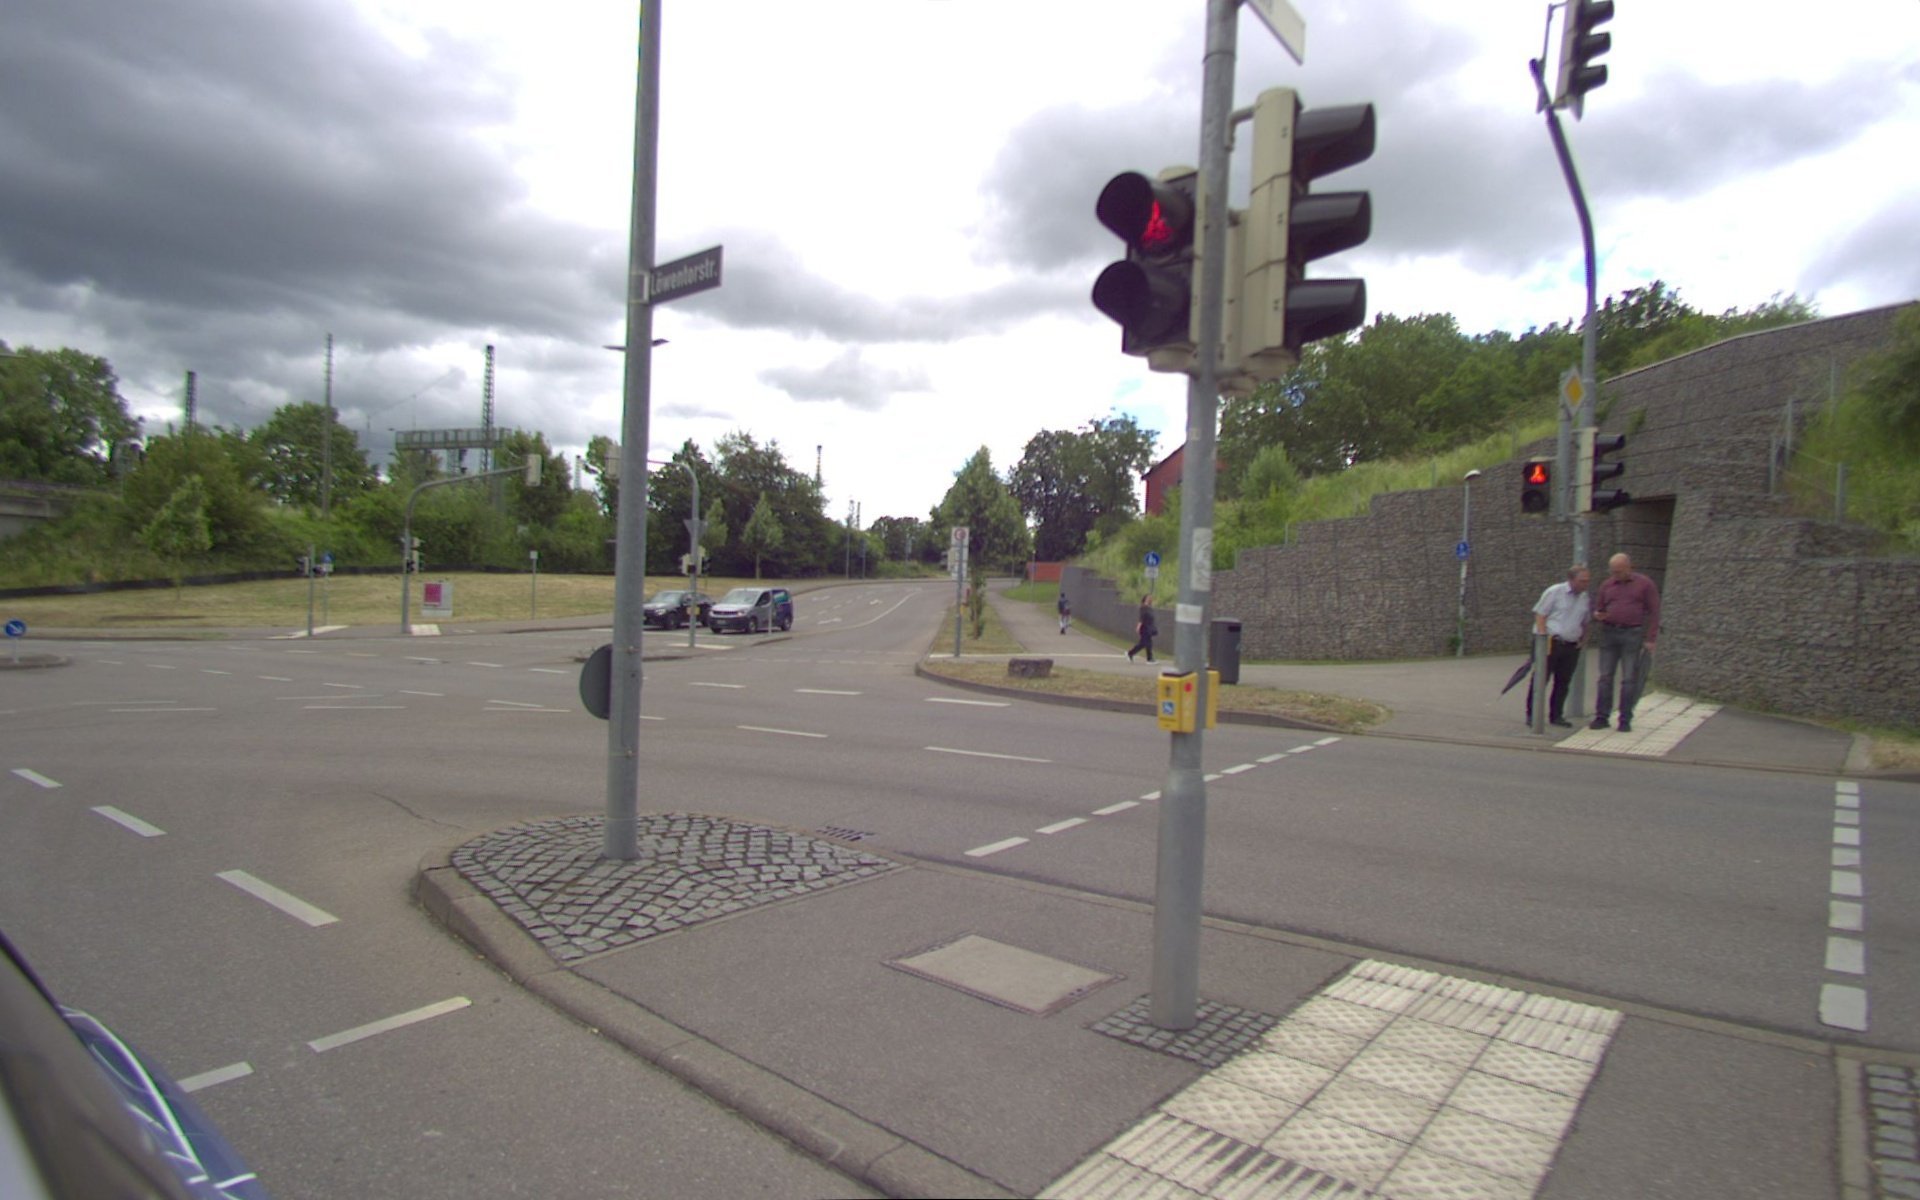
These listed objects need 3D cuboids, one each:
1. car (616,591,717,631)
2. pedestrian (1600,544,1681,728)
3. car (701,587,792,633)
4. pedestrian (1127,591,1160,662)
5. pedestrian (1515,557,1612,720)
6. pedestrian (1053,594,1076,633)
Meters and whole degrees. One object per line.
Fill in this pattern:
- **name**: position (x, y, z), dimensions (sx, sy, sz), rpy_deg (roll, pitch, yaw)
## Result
- **car**: position (-12.186, 0.422, 42.335), dimensions (2.093, 1.563, 4.238), rpy_deg (1, 1, 18)
- **pedestrian**: position (7.106, 0.354, 10.572), dimensions (0.664, 1.841, 0.616), rpy_deg (1, 1, 36)
- **car**: position (-8.452, 0.345, 40.491), dimensions (1.745, 1.741, 4.239), rpy_deg (1, 1, 17)
- **pedestrian**: position (4.130, 0.579, 22.752), dimensions (0.620, 1.569, 0.575), rpy_deg (1, 1, 23)
- **pedestrian**: position (6.469, 0.396, 10.874), dimensions (0.657, 1.691, 0.623), rpy_deg (1, 1, 5)
- **pedestrian**: position (4.266, 0.535, 41.366), dimensions (0.790, 1.569, 0.901), rpy_deg (0, 1, 0)
